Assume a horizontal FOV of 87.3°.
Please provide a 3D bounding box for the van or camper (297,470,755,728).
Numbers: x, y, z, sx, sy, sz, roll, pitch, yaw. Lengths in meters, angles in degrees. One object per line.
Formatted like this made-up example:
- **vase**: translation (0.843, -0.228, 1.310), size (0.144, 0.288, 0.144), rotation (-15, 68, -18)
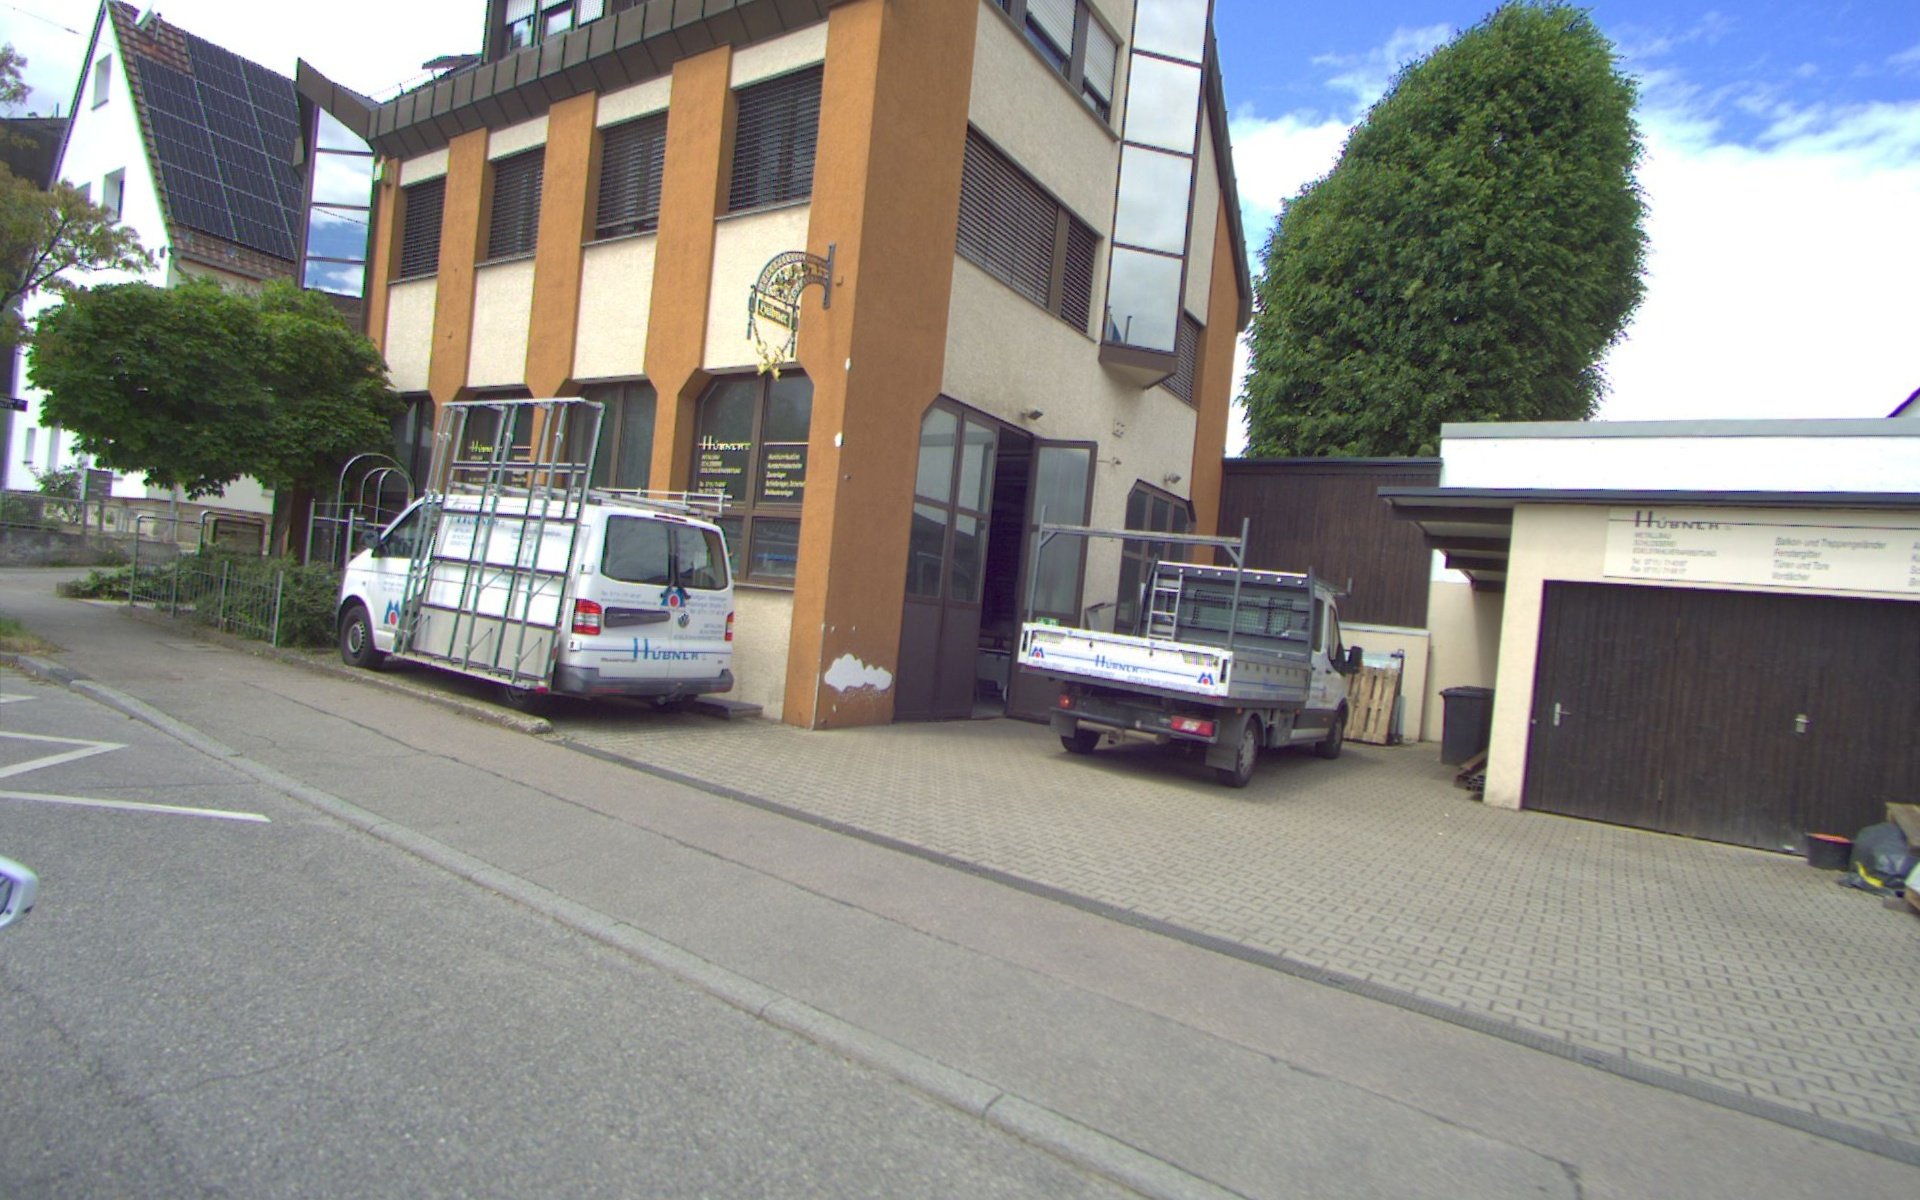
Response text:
- **van or camper**: translation (-4.443, -0.076, 10.079), size (4.474, 2.055, 1.870), rotation (5, -2, 33)

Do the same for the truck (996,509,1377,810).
- **truck**: translation (2.868, 0.685, 11.502), size (2.319, 2.487, 5.093), rotation (8, 0, 34)
